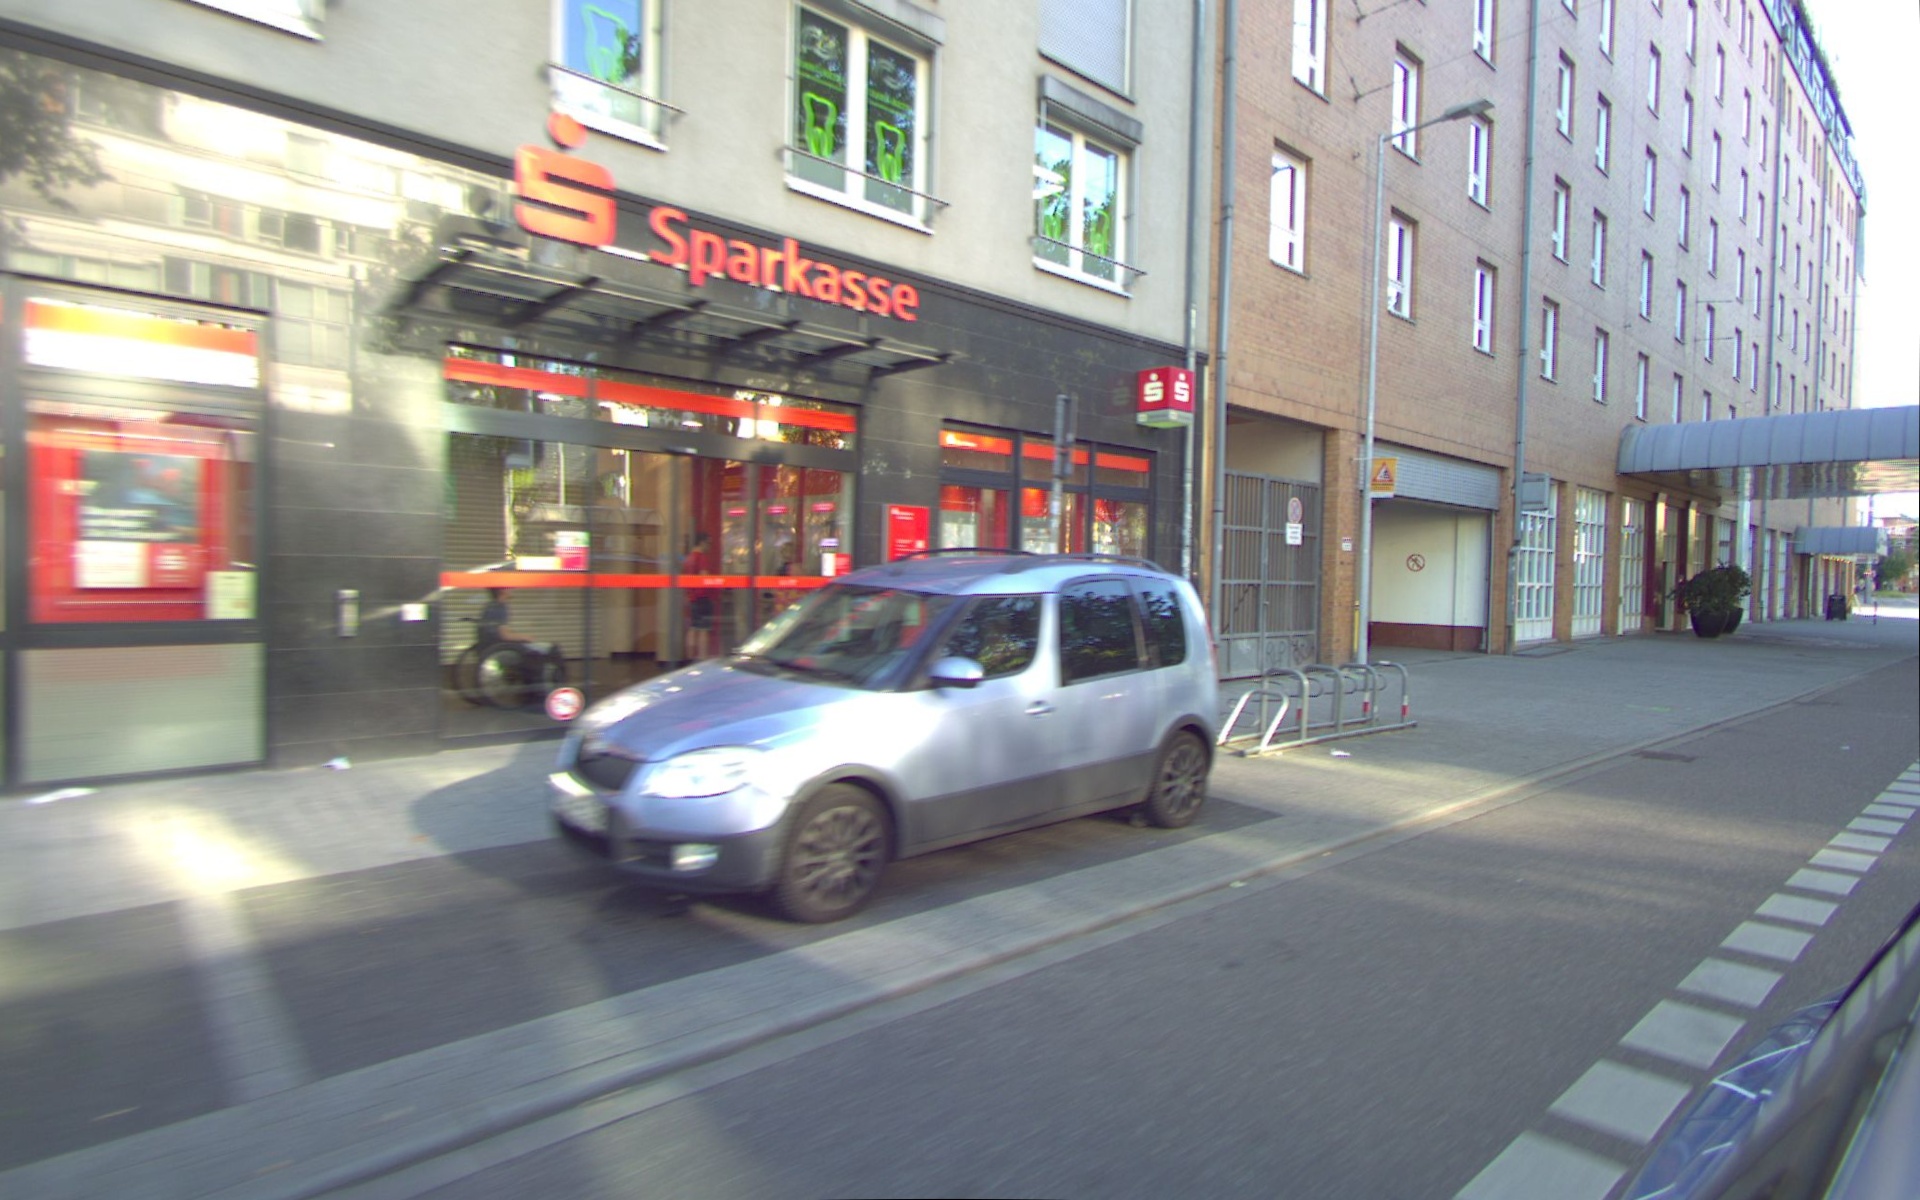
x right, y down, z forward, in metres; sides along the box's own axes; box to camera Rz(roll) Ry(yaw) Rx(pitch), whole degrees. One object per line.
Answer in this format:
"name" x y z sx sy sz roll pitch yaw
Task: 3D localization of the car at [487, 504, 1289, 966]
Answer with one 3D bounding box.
"car" -0.149 0.401 5.693 4.210 1.642 1.837 -1 5 -41
